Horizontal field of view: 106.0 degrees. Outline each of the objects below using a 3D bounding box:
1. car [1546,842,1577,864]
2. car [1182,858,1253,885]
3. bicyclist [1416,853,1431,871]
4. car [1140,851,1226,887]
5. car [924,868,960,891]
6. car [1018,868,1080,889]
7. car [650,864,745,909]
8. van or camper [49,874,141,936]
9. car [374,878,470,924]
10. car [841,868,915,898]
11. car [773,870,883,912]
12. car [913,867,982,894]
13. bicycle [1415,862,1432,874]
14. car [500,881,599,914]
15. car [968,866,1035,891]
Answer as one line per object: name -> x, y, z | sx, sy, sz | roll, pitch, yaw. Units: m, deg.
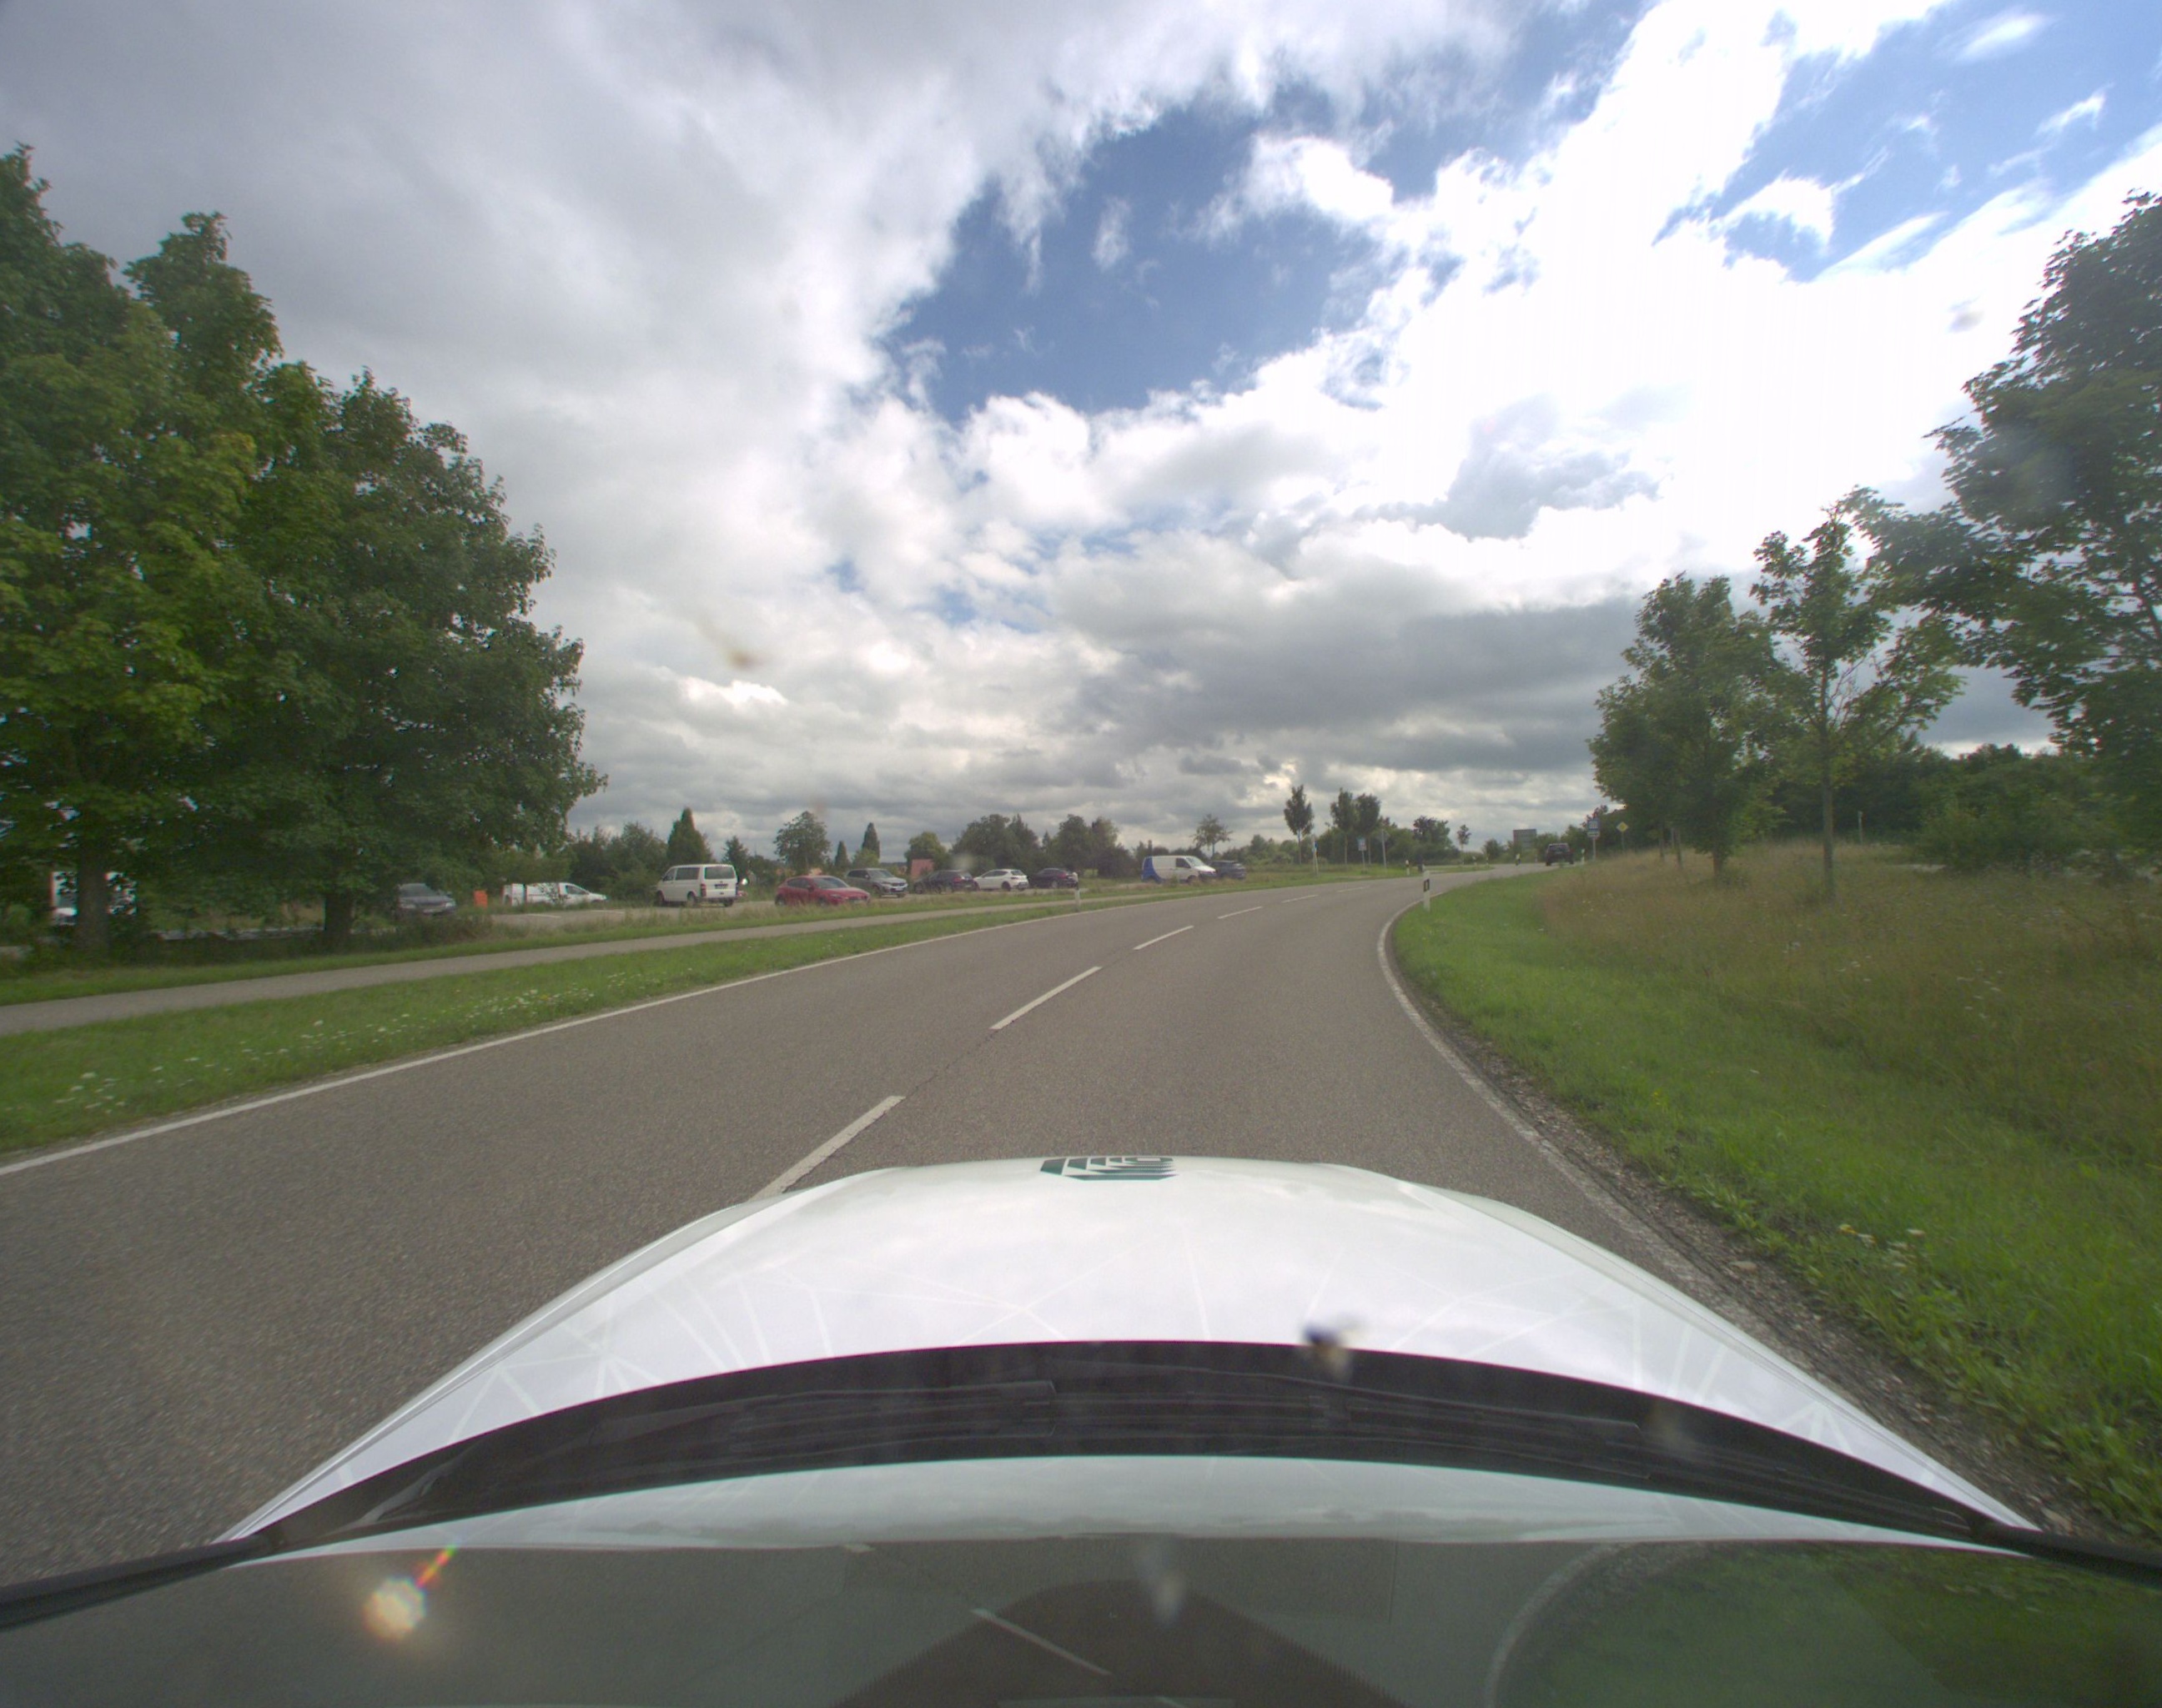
car -> 36.965, -0.089, 62.744 | 1.888, 1.666, 4.024 | -1, 0, 28
car -> 9.094, 1.163, 54.467 | 4.206, 1.595, 2.013 | -3, -2, 39
bicyclist -> 30.535, 0.732, 72.642 | 0.823, 1.566, 1.062 | -4, -2, 43
car -> 6.295, 0.915, 50.444 | 4.846, 2.014, 2.069 | -3, -2, 38
car -> -9.606, 1.754, 56.067 | 1.777, 1.526, 3.768 | -2, -1, -20
car -> -2.238, 1.718, 57.306 | 3.948, 1.387, 1.854 | -2, -1, 32
car -> -17.952, 1.493, 38.057 | 4.636, 1.926, 2.074 | -1, -1, 37
van or camper -> -41.859, 2.081, 34.704 | 5.972, 2.347, 2.300 | -2, -1, 41
car -> -24.077, 1.707, 29.730 | 3.948, 1.525, 1.805 | -3, -1, 37
car -> -11.271, 1.636, 45.195 | 3.948, 1.552, 1.978 | -3, -1, 39
car -> -9.540, 1.397, 30.582 | 4.321, 1.417, 1.825 | -3, -2, 39
car -> -8.124, 1.615, 49.479 | 3.948, 1.552, 1.978 | -2, -1, 39
bicycle -> 30.508, 1.227, 72.519 | 0.629, 1.032, 2.204 | -4, -2, 41
car -> -30.072, 2.424, 46.173 | 4.474, 1.622, 1.976 | -1, -1, -41
car -> -5.216, 1.626, 53.513 | 3.948, 1.552, 1.978 | -2, -1, 32
